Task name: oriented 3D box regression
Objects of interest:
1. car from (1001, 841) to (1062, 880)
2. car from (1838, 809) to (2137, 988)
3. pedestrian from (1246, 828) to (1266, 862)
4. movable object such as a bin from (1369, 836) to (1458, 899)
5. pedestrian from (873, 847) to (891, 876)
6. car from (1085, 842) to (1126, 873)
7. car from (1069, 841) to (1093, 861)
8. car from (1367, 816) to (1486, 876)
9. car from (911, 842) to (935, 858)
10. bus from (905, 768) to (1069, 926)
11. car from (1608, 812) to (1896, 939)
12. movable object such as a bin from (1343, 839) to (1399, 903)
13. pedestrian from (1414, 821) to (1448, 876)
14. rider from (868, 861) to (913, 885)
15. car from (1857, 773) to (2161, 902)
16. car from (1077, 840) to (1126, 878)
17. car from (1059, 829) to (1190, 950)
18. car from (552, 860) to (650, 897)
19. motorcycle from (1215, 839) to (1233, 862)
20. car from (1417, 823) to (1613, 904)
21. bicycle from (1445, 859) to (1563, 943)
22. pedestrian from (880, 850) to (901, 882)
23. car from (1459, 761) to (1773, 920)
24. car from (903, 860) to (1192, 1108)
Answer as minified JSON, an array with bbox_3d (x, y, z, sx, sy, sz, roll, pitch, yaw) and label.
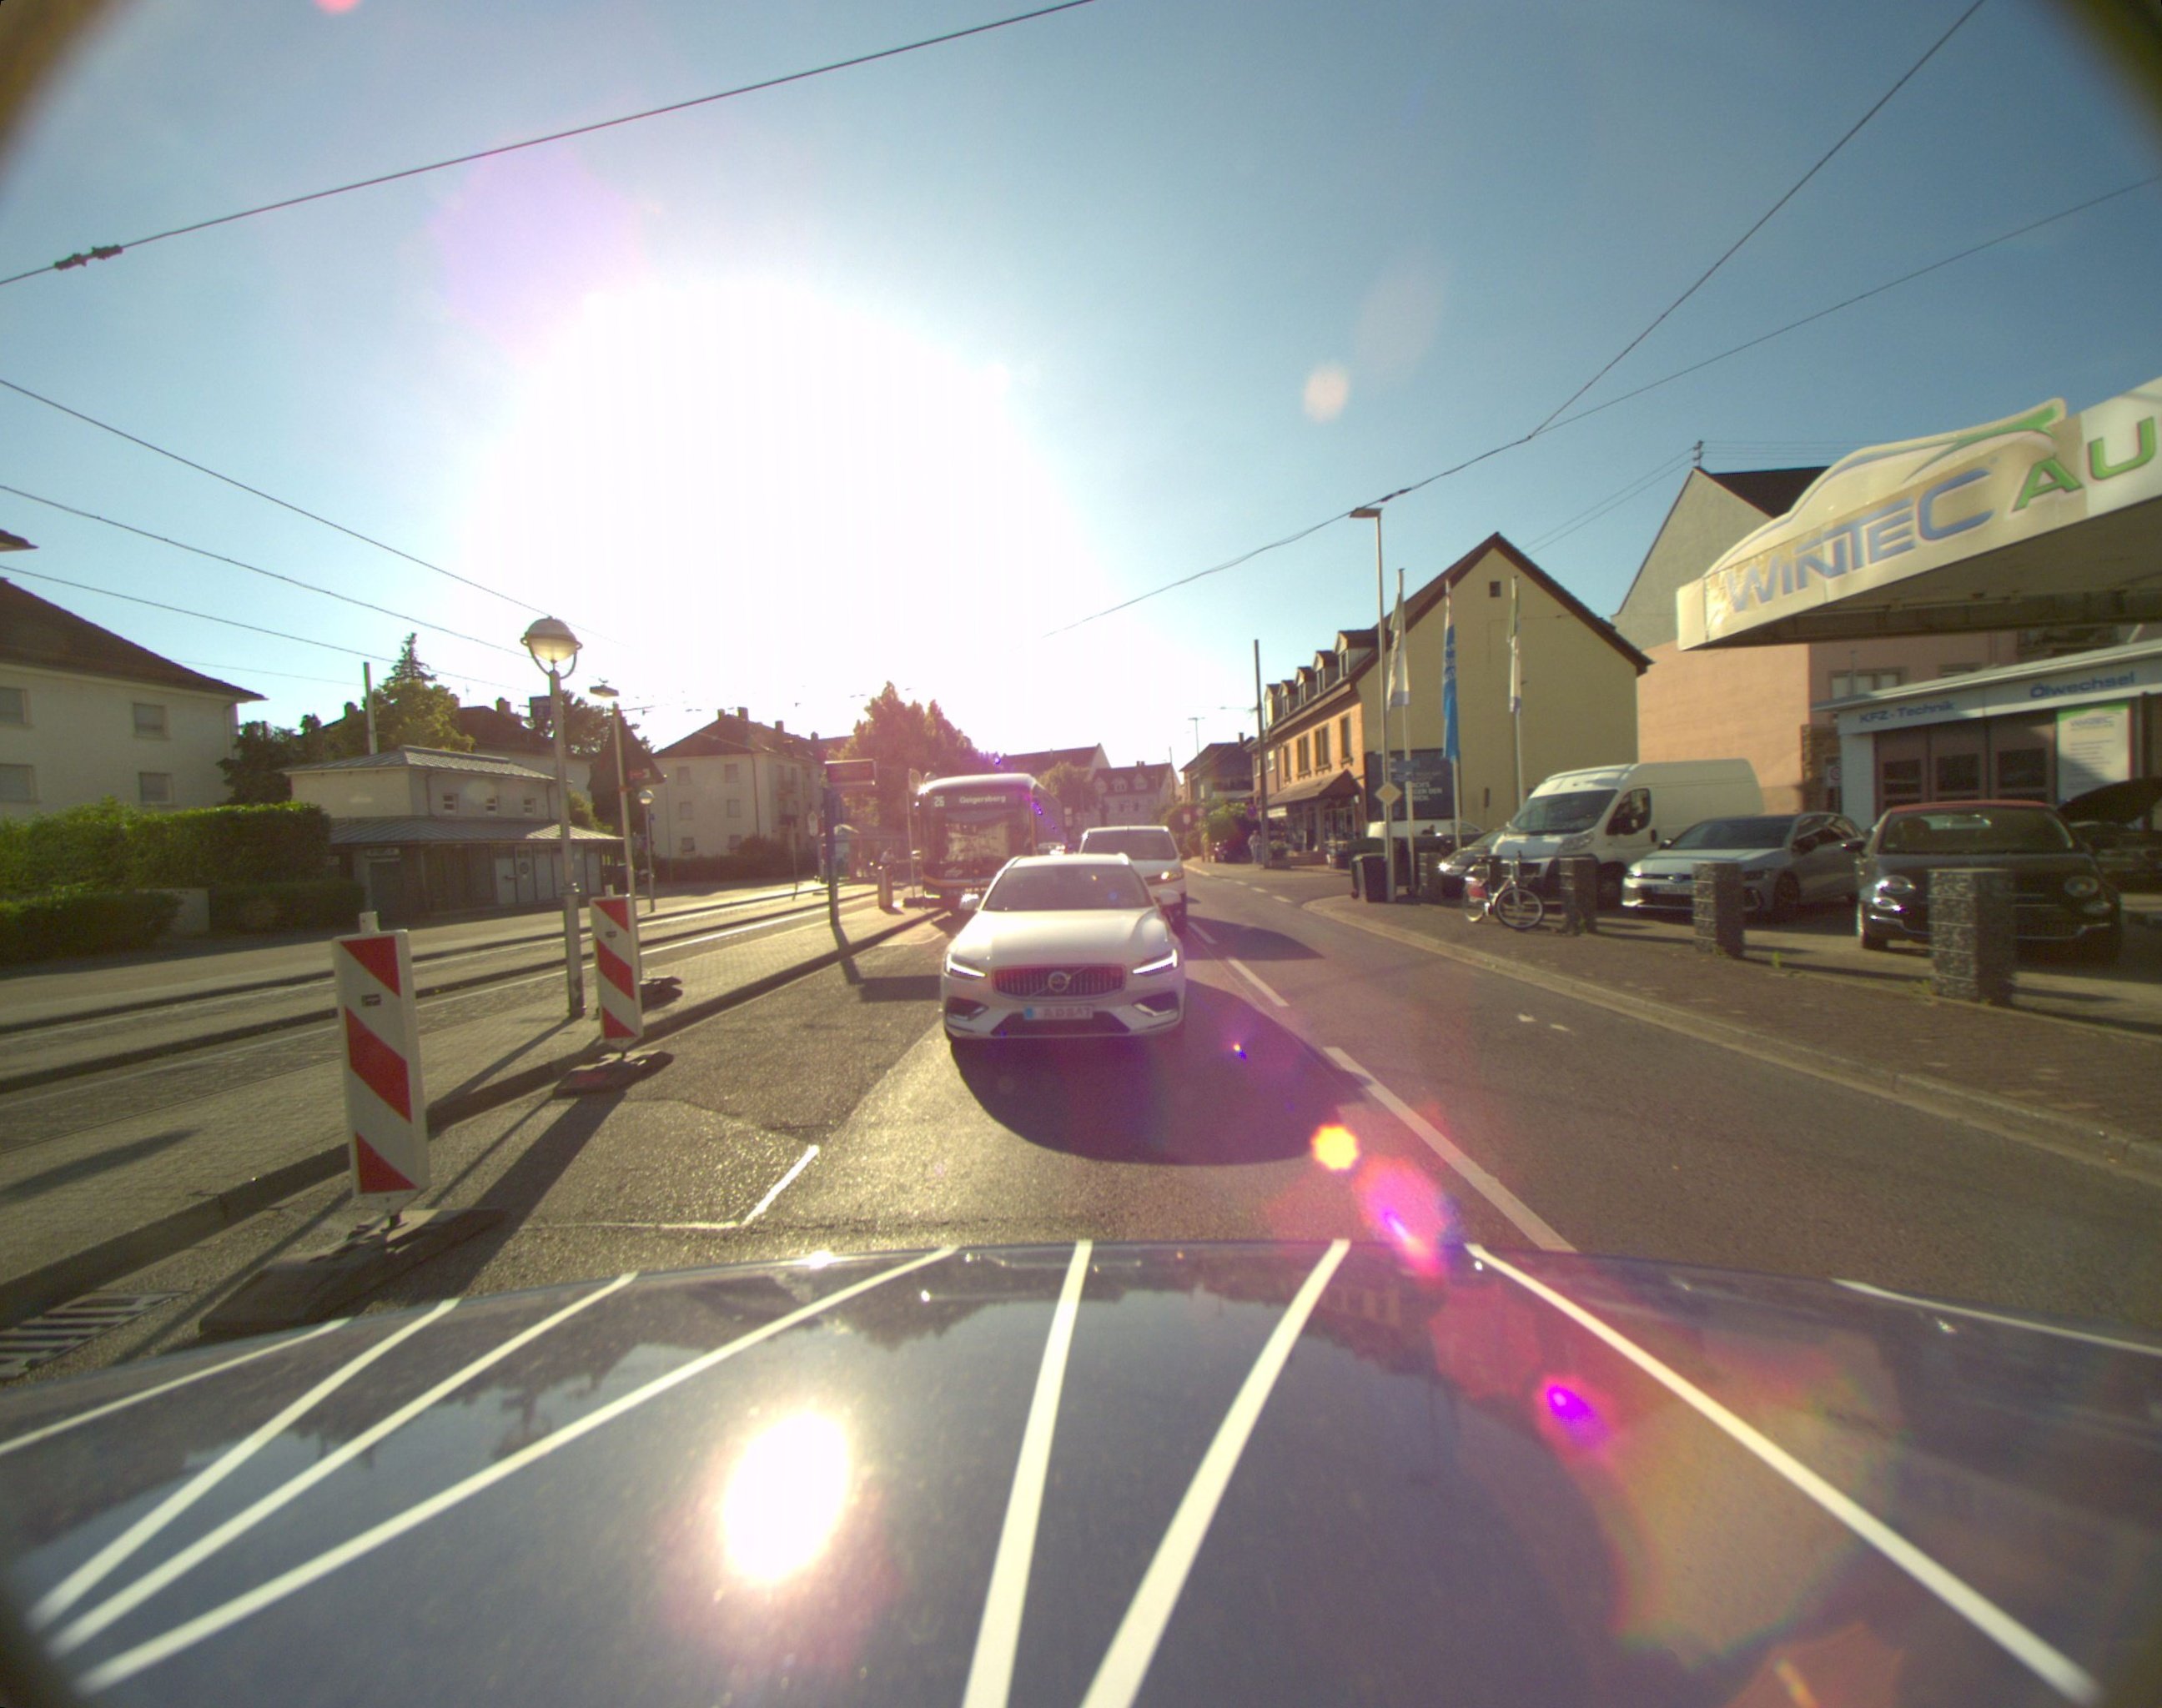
[{"bbox_3d":[-1.980,0.208,31.921,1.969,1.451,4.824,-2,1,3],"label":"car"},{"bbox_3d":[9.352,0.313,8.137,1.590,1.488,3.442,-1,2,42],"label":"car"},{"bbox_3d":[9.043,-0.469,39.320,0.809,1.704,0.859,-2,2,4],"label":"pedestrian"},{"bbox_3d":[8.278,0.313,18.936,1.798,1.456,1.046,-3,2,-23],"label":"movable object such as a bin"},{"bbox_3d":[-11.408,0.415,43.505,0.826,1.602,0.841,-3,2,-24],"label":"pedestrian"},{"bbox_3d":[1.329,0.148,39.934,1.969,1.451,4.824,-2,1,3],"label":"car"},{"bbox_3d":[0.038,-0.330,70.864,1.969,1.695,4.824,-2,1,3],"label":"car"},{"bbox_3d":[12.589,-0.288,27.779,3.671,2.002,1.451,-2,2,0],"label":"car"},{"bbox_3d":[-19.710,-0.494,94.910,1.998,1.853,4.000,-2,2,3],"label":"car"},{"bbox_3d":[-2.112,-0.257,22.244,2.748,3.284,12.031,-2,1,2],"label":"bus"},{"bbox_3d":[9.882,0.217,11.164,4.035,1.488,1.739,-3,2,-26],"label":"car"},{"bbox_3d":[6.885,0.385,18.025,1.045,1.456,0.797,-1,2,34],"label":"movable object such as a bin"},{"bbox_3d":[12.198,-0.194,26.506,0.766,1.842,0.823,-2,2,0],"label":"pedestrian"},{"bbox_3d":[-8.544,0.848,34.070,1.854,0.986,0.581,-2,2,18],"label":"rider"},{"bbox_3d":[16.973,-0.329,13.665,1.741,1.933,4.258,-3,1,2],"label":"car"},{"bbox_3d":[0.952,0.163,33.611,1.969,1.451,4.824,-2,1,3],"label":"car"},{"bbox_3d":[0.808,0.512,14.314,1.969,1.816,5.033,-2,1,3],"label":"car"},{"bbox_3d":[-26.171,1.322,41.503,4.051,1.664,2.000,-3,2,4],"label":"car"},{"bbox_3d":[7.920,-0.202,42.167,0.708,1.210,2.186,-2,2,5],"label":"motorcycle"},{"bbox_3d":[9.569,0.146,16.715,4.035,1.469,1.739,-3,2,-26],"label":"car"},{"bbox_3d":[6.279,0.656,11.410,0.725,1.080,1.791,-3,1,-1],"label":"bicycle"},{"bbox_3d":[-8.549,0.530,34.049,0.657,1.373,0.581,-1,2,18],"label":"pedestrian"},{"bbox_3d":[9.634,-0.317,13.717,4.996,2.440,2.111,-3,2,-20],"label":"car"},{"bbox_3d":[-0.112,0.869,7.018,1.820,1.446,4.217,-2,1,3],"label":"car"}]
